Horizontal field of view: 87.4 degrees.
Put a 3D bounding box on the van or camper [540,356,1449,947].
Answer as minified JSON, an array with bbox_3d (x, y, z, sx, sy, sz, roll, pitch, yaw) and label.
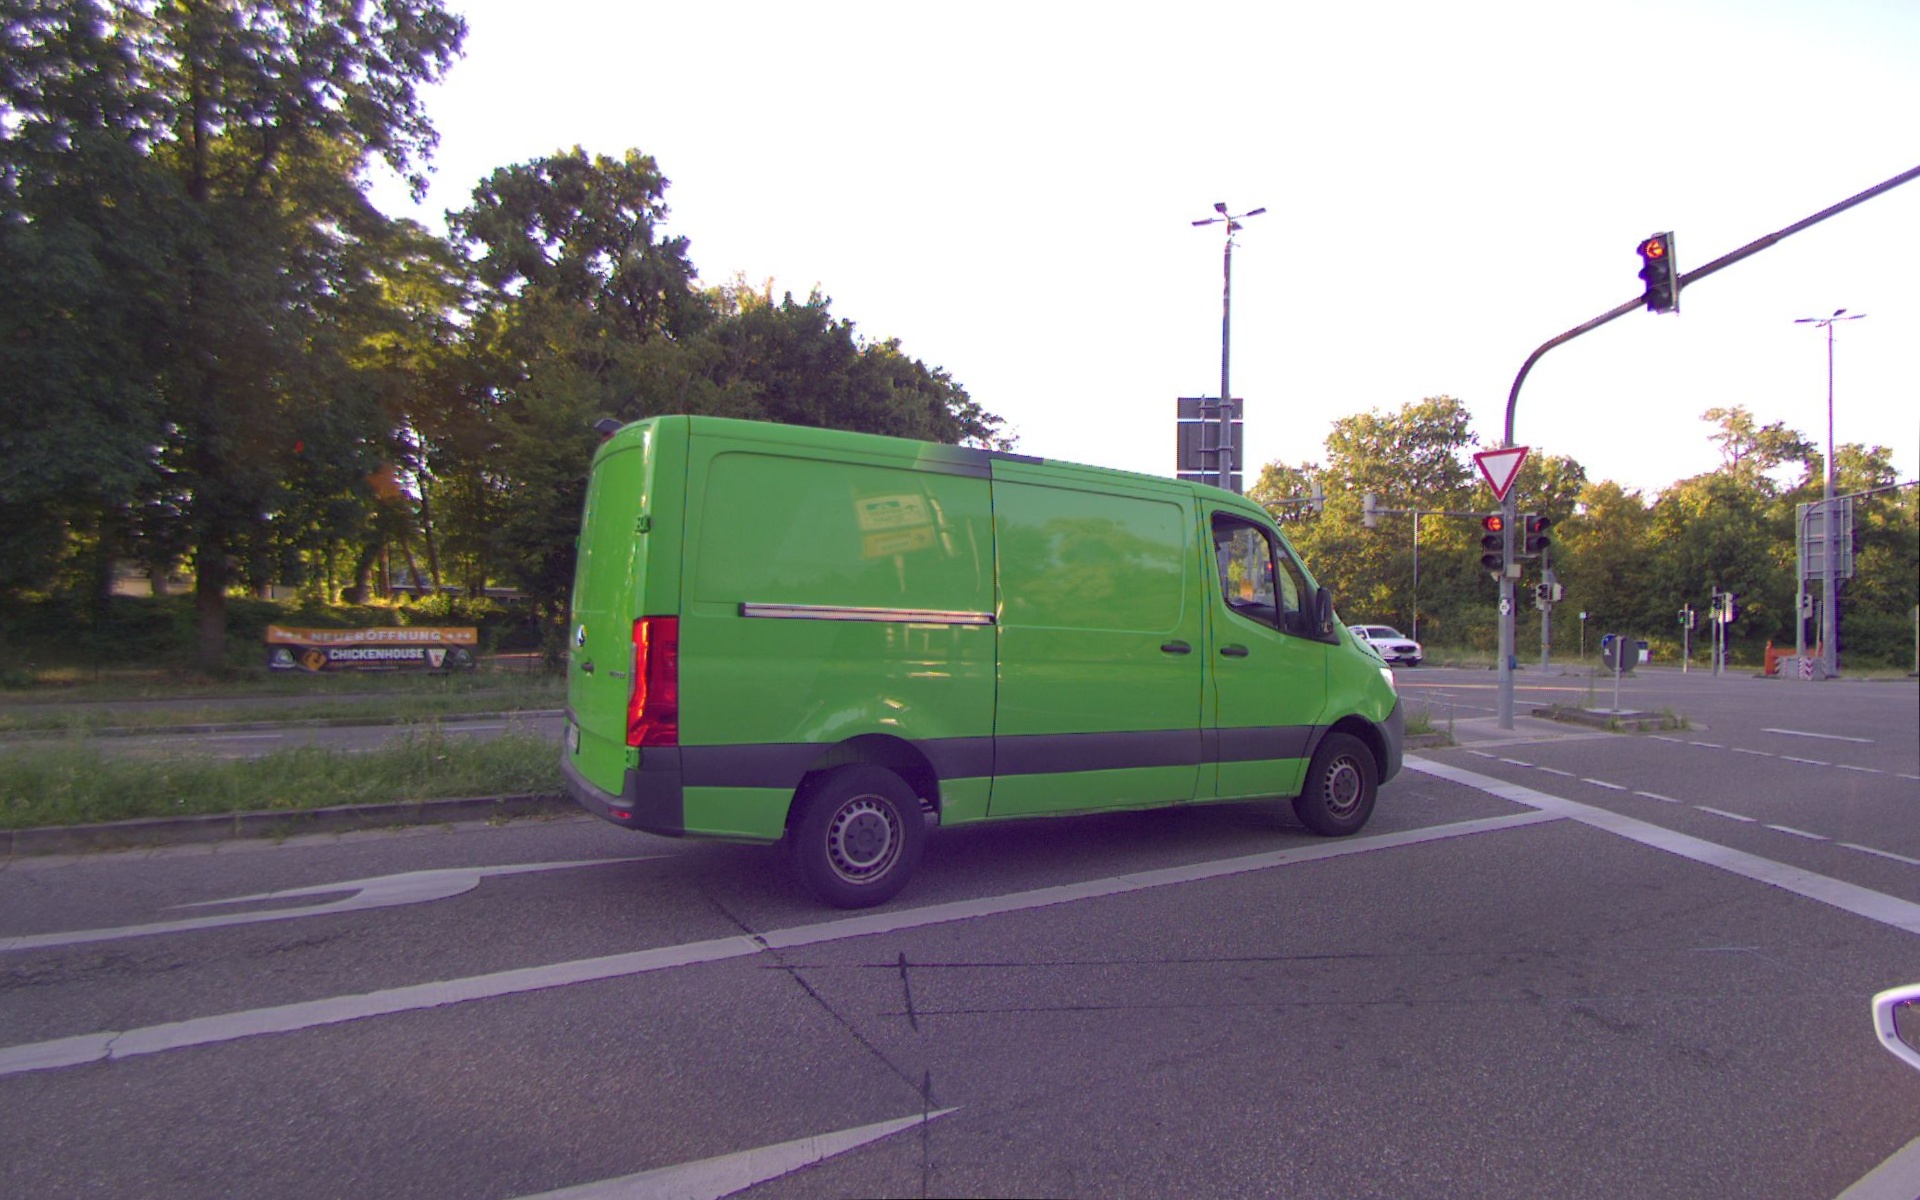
[{"bbox_3d":[0.544,0.293,6.563,5.830,2.453,1.983,2,-1,-32],"label":"van or camper"}]

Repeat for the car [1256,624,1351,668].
[{"bbox_3d":[13.815,1.818,40.697,1.963,1.661,4.252,1,-1,-8],"label":"car"}]

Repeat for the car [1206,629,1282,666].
[{"bbox_3d":[13.504,2.231,48.045,1.963,1.661,4.252,1,-1,-8],"label":"car"}]

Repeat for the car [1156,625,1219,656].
[{"bbox_3d":[12.692,2.221,56.198,1.964,1.661,4.250,1,-1,-10],"label":"car"}]

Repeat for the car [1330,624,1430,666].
[{"bbox_3d":[17.501,1.852,42.103,1.963,1.661,4.252,1,-1,-8],"label":"car"}]
